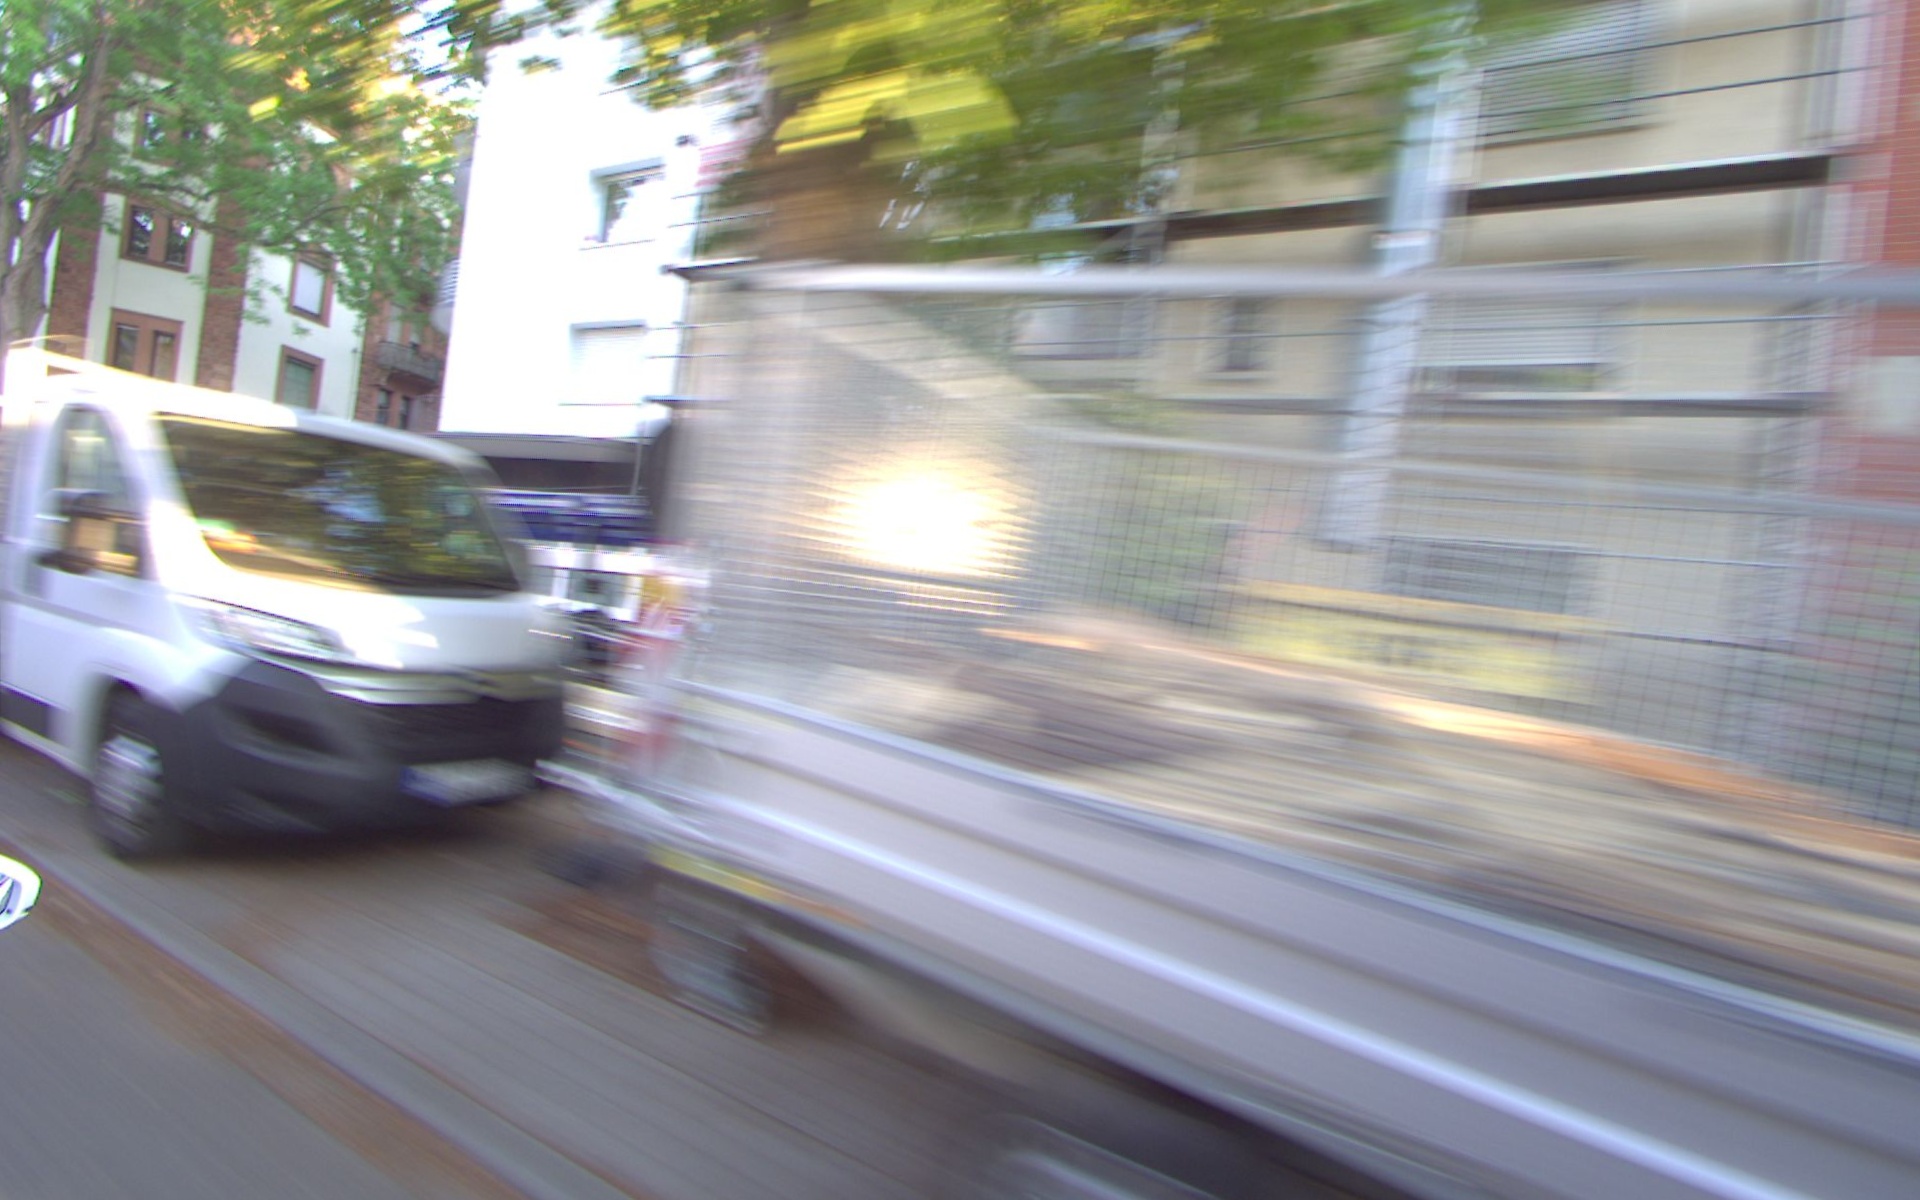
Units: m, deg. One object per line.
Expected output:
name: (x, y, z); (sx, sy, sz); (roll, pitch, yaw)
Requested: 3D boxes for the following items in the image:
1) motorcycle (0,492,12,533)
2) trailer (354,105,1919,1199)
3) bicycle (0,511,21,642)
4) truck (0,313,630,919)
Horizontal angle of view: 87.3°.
motorcycle: (-26.503, -2.421, 27.012); (0.430, 1.093, 2.105); (8, 0, -13)
trailer: (0.682, 0.466, 2.705); (4.567, 2.325, 1.955); (7, 2, 31)
bicycle: (-9.933, -0.275, 9.186); (0.400, 1.275, 1.906); (7, 1, 26)
truck: (-5.277, -0.185, 6.263); (6.661, 2.271, 1.981); (7, -1, 30)
